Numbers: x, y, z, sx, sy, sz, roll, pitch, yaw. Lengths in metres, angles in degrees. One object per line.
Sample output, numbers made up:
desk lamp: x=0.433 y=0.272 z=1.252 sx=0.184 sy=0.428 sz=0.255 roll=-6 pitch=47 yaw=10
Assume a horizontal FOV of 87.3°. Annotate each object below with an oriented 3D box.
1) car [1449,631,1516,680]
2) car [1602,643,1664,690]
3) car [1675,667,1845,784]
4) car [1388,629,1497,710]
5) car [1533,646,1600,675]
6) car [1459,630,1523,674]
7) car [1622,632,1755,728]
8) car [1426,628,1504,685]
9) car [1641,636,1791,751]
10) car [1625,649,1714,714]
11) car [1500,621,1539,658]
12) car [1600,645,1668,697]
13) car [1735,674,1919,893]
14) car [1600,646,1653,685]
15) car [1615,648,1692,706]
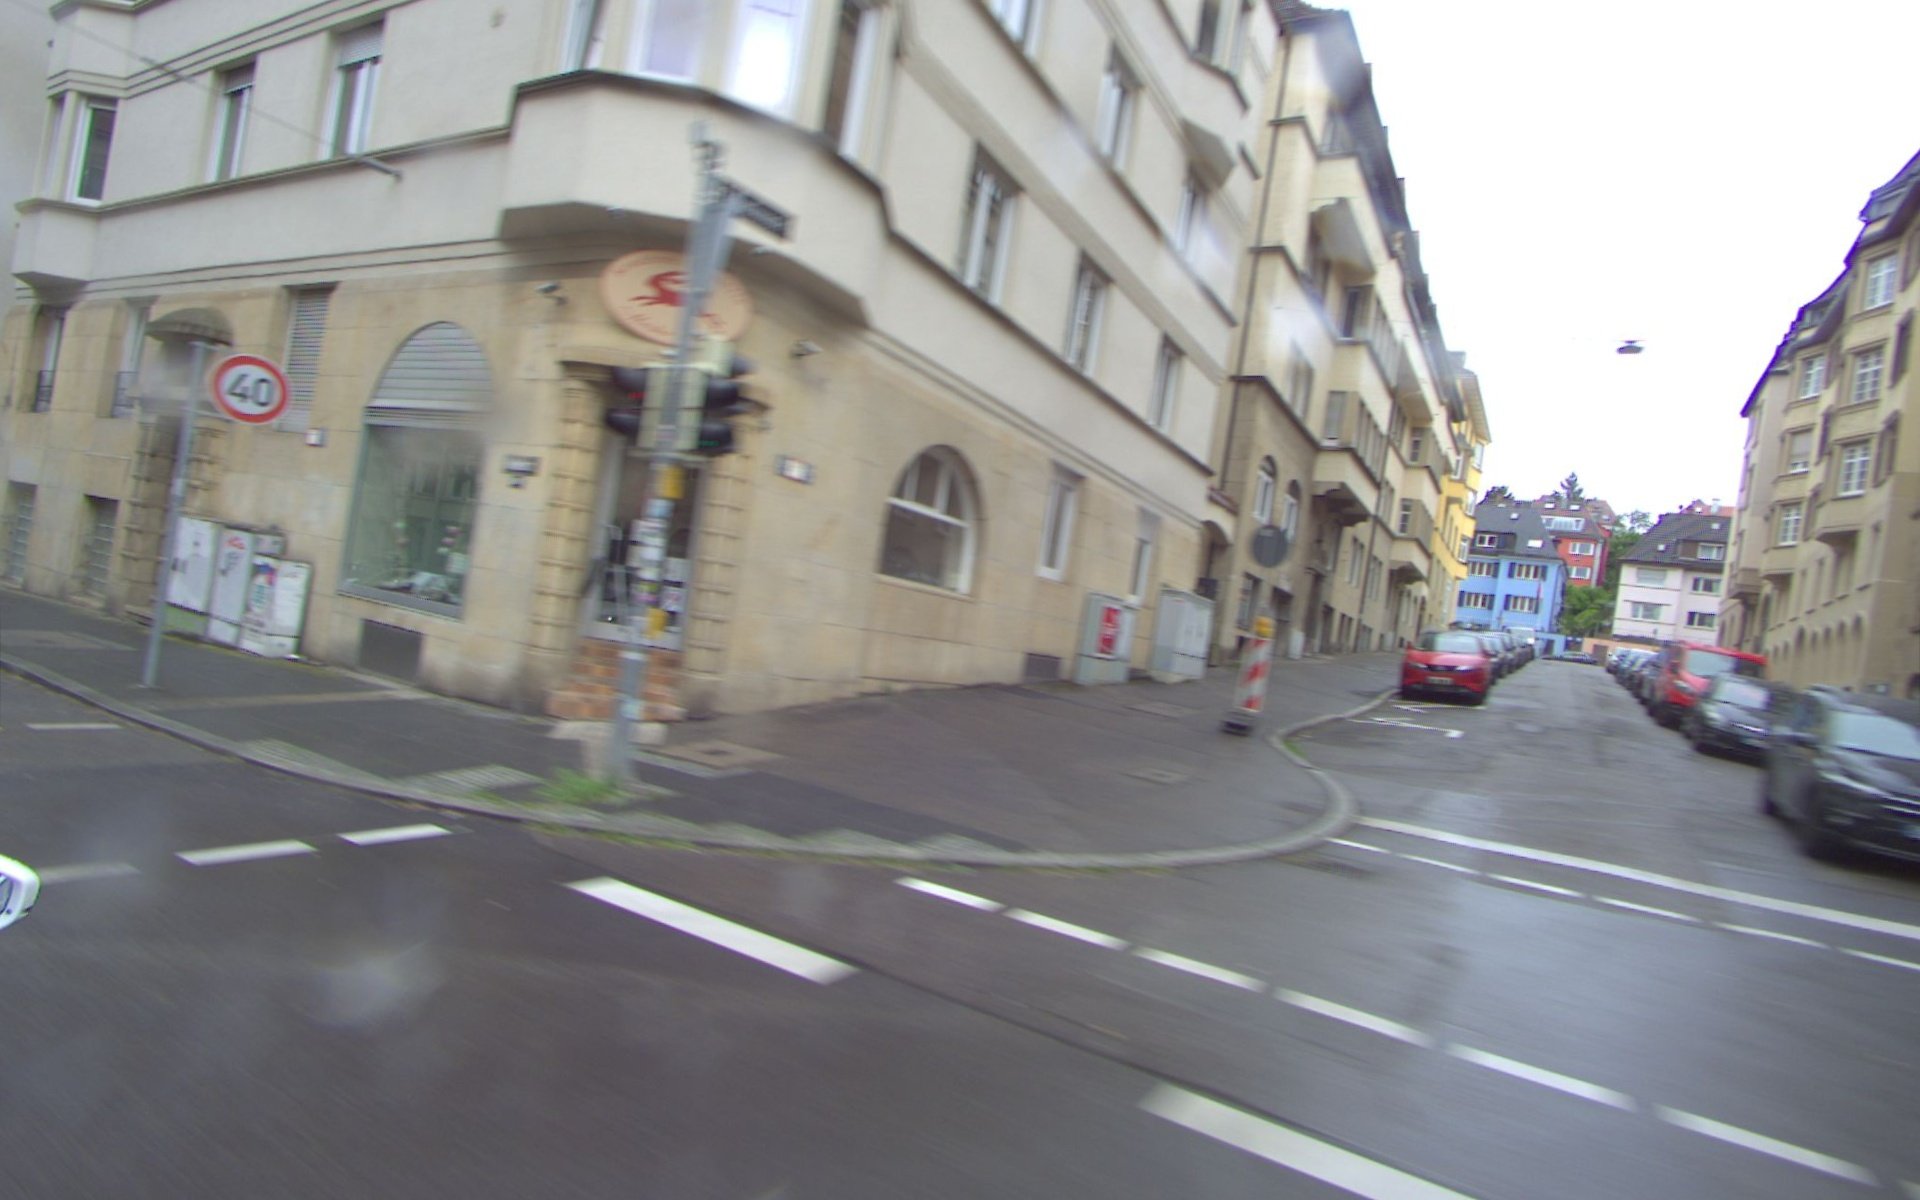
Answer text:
car: x=19.691 y=2.041 z=37.835 sx=1.946 sy=1.588 sz=4.360 roll=4 pitch=0 yaw=30
car: x=31.636 y=3.097 z=47.399 sx=1.968 sy=1.672 sz=4.344 roll=14 pitch=5 yaw=31
car: x=15.328 y=2.304 z=19.552 sx=1.828 sy=1.483 sz=4.672 roll=14 pitch=6 yaw=32
car: x=11.663 y=1.575 z=24.149 sx=1.946 sy=1.589 sz=4.359 roll=4 pitch=1 yaw=30
car: x=46.959 y=4.669 z=77.968 sx=4.285 sy=1.672 sz=1.996 roll=7 pitch=2 yaw=31
car: x=22.081 y=2.133 z=41.766 sx=2.004 sy=1.588 sz=4.460 roll=4 pitch=0 yaw=31
car: x=21.008 y=2.219 z=29.267 sx=2.363 sy=2.070 sz=5.077 roll=14 pitch=5 yaw=31
car: x=16.613 y=1.805 z=33.007 sx=1.946 sy=1.588 sz=4.360 roll=4 pitch=0 yaw=30
car: x=17.982 y=2.103 z=24.204 sx=2.038 sy=2.070 sz=5.077 roll=14 pitch=5 yaw=31
car: x=24.628 y=2.756 z=35.068 sx=1.968 sy=1.672 sz=4.344 roll=14 pitch=5 yaw=31
car: x=34.284 y=2.419 z=61.601 sx=1.946 sy=2.022 sz=4.360 roll=4 pitch=0 yaw=30
car: x=29.148 y=3.019 z=43.646 sx=1.968 sy=1.672 sz=4.344 roll=14 pitch=5 yaw=31
car: x=9.750 y=1.818 z=10.555 sx=1.843 sy=1.674 sz=4.512 roll=8 pitch=2 yaw=31
car: x=36.693 y=3.571 z=55.470 sx=1.968 sy=1.672 sz=4.344 roll=14 pitch=5 yaw=31
car: x=27.125 y=2.952 z=39.475 sx=1.968 sy=1.672 sz=4.344 roll=14 pitch=5 yaw=31
